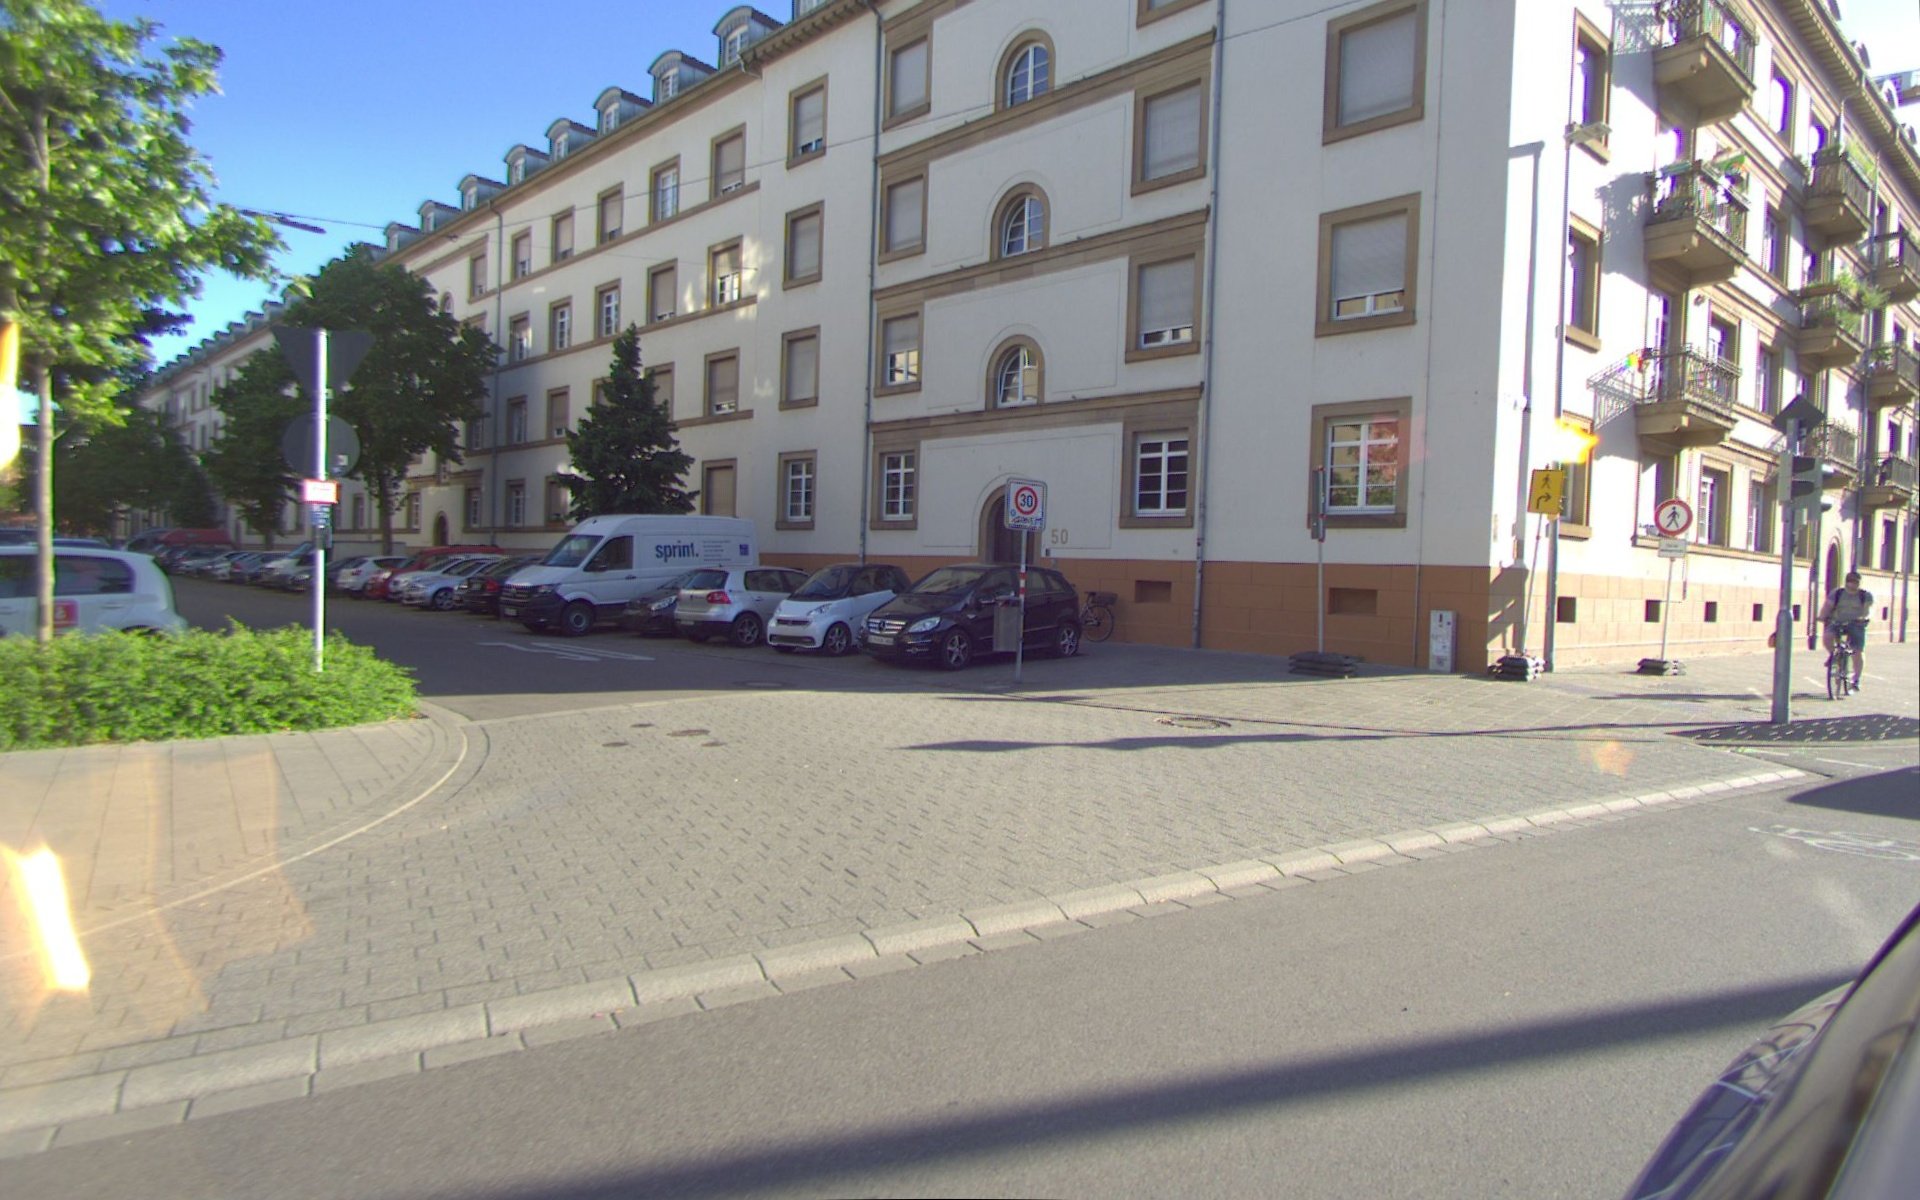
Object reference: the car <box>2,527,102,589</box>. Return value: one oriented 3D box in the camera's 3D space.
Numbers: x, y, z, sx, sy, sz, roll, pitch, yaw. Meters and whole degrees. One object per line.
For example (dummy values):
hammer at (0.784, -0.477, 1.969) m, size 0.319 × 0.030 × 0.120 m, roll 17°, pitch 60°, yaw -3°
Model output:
car at (-26.426, -1.163, 29.410) m, size 3.985 × 1.661 × 1.797 m, roll 1°, pitch 0°, yaw 43°

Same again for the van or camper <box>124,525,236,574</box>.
van or camper at (-44.579, -2.837, 57.945) m, size 1.811 × 2.560 × 4.818 m, roll 0°, pitch 0°, yaw 39°

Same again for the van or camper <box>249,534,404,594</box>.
van or camper at (-24.508, -1.339, 39.307) m, size 1.814 × 2.124 × 4.809 m, roll 0°, pitch 0°, yaw 44°

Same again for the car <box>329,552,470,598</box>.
car at (-19.188, -0.834, 34.739) m, size 1.691 × 1.454 × 3.936 m, roll 0°, pitch 0°, yaw 44°

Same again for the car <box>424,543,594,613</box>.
car at (-12.211, -0.548, 27.547) m, size 1.539 × 1.761 × 3.936 m, roll 0°, pitch 0°, yaw 44°

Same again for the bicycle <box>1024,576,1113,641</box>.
bicycle at (2.123, 0.145, 19.968) m, size 1.801 × 1.179 × 0.401 m, roll 3°, pitch 3°, yaw 39°

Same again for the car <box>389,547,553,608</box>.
car at (-14.032, -0.596, 29.157) m, size 3.934 × 1.636 × 1.691 m, roll 1°, pitch 0°, yaw -45°

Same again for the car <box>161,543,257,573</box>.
car at (-40.601, -2.253, 54.752) m, size 1.690 × 1.454 × 3.936 m, roll 0°, pitch 0°, yaw 44°

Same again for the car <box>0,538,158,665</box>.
car at (-11.967, 0.006, 12.023) m, size 1.631 × 1.471 × 3.600 m, roll 0°, pitch 0°, yaw 42°

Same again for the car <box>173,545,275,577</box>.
car at (-37.080, -1.950, 51.054) m, size 1.690 × 1.454 × 3.936 m, roll 0°, pitch 0°, yaw 44°

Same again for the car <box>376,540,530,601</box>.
car at (-15.645, -0.857, 31.365) m, size 1.687 × 1.749 × 3.943 m, roll 0°, pitch 0°, yaw 39°

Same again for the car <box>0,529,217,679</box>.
car at (-10.250, 0.027, 10.537) m, size 1.660 × 1.493 × 3.781 m, roll 0°, pitch 0°, yaw 40°

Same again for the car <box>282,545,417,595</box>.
car at (-22.458, -1.069, 37.316) m, size 1.735 × 1.701 × 3.939 m, roll 0°, pitch 0°, yaw 42°

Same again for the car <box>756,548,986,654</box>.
car at (-1.500, -0.063, 18.506) m, size 1.621 × 1.707 × 4.377 m, roll 2°, pitch 3°, yaw 39°

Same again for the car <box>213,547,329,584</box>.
car at (-30.217, -1.487, 44.458) m, size 1.690 × 1.454 × 3.936 m, roll 0°, pitch 0°, yaw 44°

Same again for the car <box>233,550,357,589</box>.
car at (-26.979, -1.207, 41.143) m, size 1.690 × 1.454 × 3.936 m, roll 0°, pitch 0°, yaw 44°

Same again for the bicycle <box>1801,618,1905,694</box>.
bicycle at (12.882, 0.774, 14.577) m, size 2.158 × 0.965 × 0.769 m, roll 0°, pitch 2°, yaw -39°

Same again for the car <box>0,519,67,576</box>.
car at (-33.103, -1.791, 35.690) m, size 4.163 × 1.822 × 1.904 m, roll 1°, pitch 0°, yaw 41°

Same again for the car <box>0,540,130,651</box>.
car at (-13.698, -0.070, 13.691) m, size 1.633 × 1.473 × 3.674 m, roll 0°, pitch 0°, yaw 45°

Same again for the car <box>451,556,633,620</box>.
car at (-10.561, -0.274, 25.711) m, size 3.931 × 1.509 × 1.693 m, roll 1°, pitch 0°, yaw -42°

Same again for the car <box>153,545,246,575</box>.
car at (-42.380, -2.206, 56.451) m, size 1.690 × 1.454 × 3.936 m, roll 0°, pitch 0°, yaw 44°

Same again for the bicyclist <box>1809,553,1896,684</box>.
bicyclist at (12.730, 0.247, 14.441) m, size 0.921 × 1.785 × 0.734 m, roll 1°, pitch 2°, yaw -39°

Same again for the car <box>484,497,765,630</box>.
car at (-7.339, -0.892, 22.839) m, size 1.921 × 2.640 × 5.878 m, roll 3°, pitch 4°, yaw 40°

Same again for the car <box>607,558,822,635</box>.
car at (-5.195, -0.117, 21.897) m, size 1.691 × 1.497 × 4.373 m, roll 0°, pitch 1°, yaw 41°

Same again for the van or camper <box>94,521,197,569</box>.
van or camper at (-51.338, -3.423, 63.877) m, size 1.811 × 2.754 × 4.818 m, roll 0°, pitch 0°, yaw 39°

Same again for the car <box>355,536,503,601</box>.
car at (-17.235, -0.972, 32.960) m, size 1.689 × 1.961 × 3.939 m, roll 0°, pitch 0°, yaw 42°

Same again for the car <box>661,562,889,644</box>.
car at (-3.535, 0.009, 20.046) m, size 1.690 × 1.447 × 4.375 m, roll 0°, pitch 1°, yaw 40°

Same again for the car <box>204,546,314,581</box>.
car at (-32.194, -1.651, 46.543) m, size 1.690 × 1.454 × 3.936 m, roll 0°, pitch 0°, yaw 44°

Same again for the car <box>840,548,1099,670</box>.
car at (0.282, 0.045, 16.484) m, size 1.692 × 1.707 × 4.371 m, roll 0°, pitch 2°, yaw 44°

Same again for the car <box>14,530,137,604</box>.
car at (-22.962, -0.882, 26.217) m, size 4.384 × 1.719 × 1.969 m, roll 4°, pitch 2°, yaw 43°
